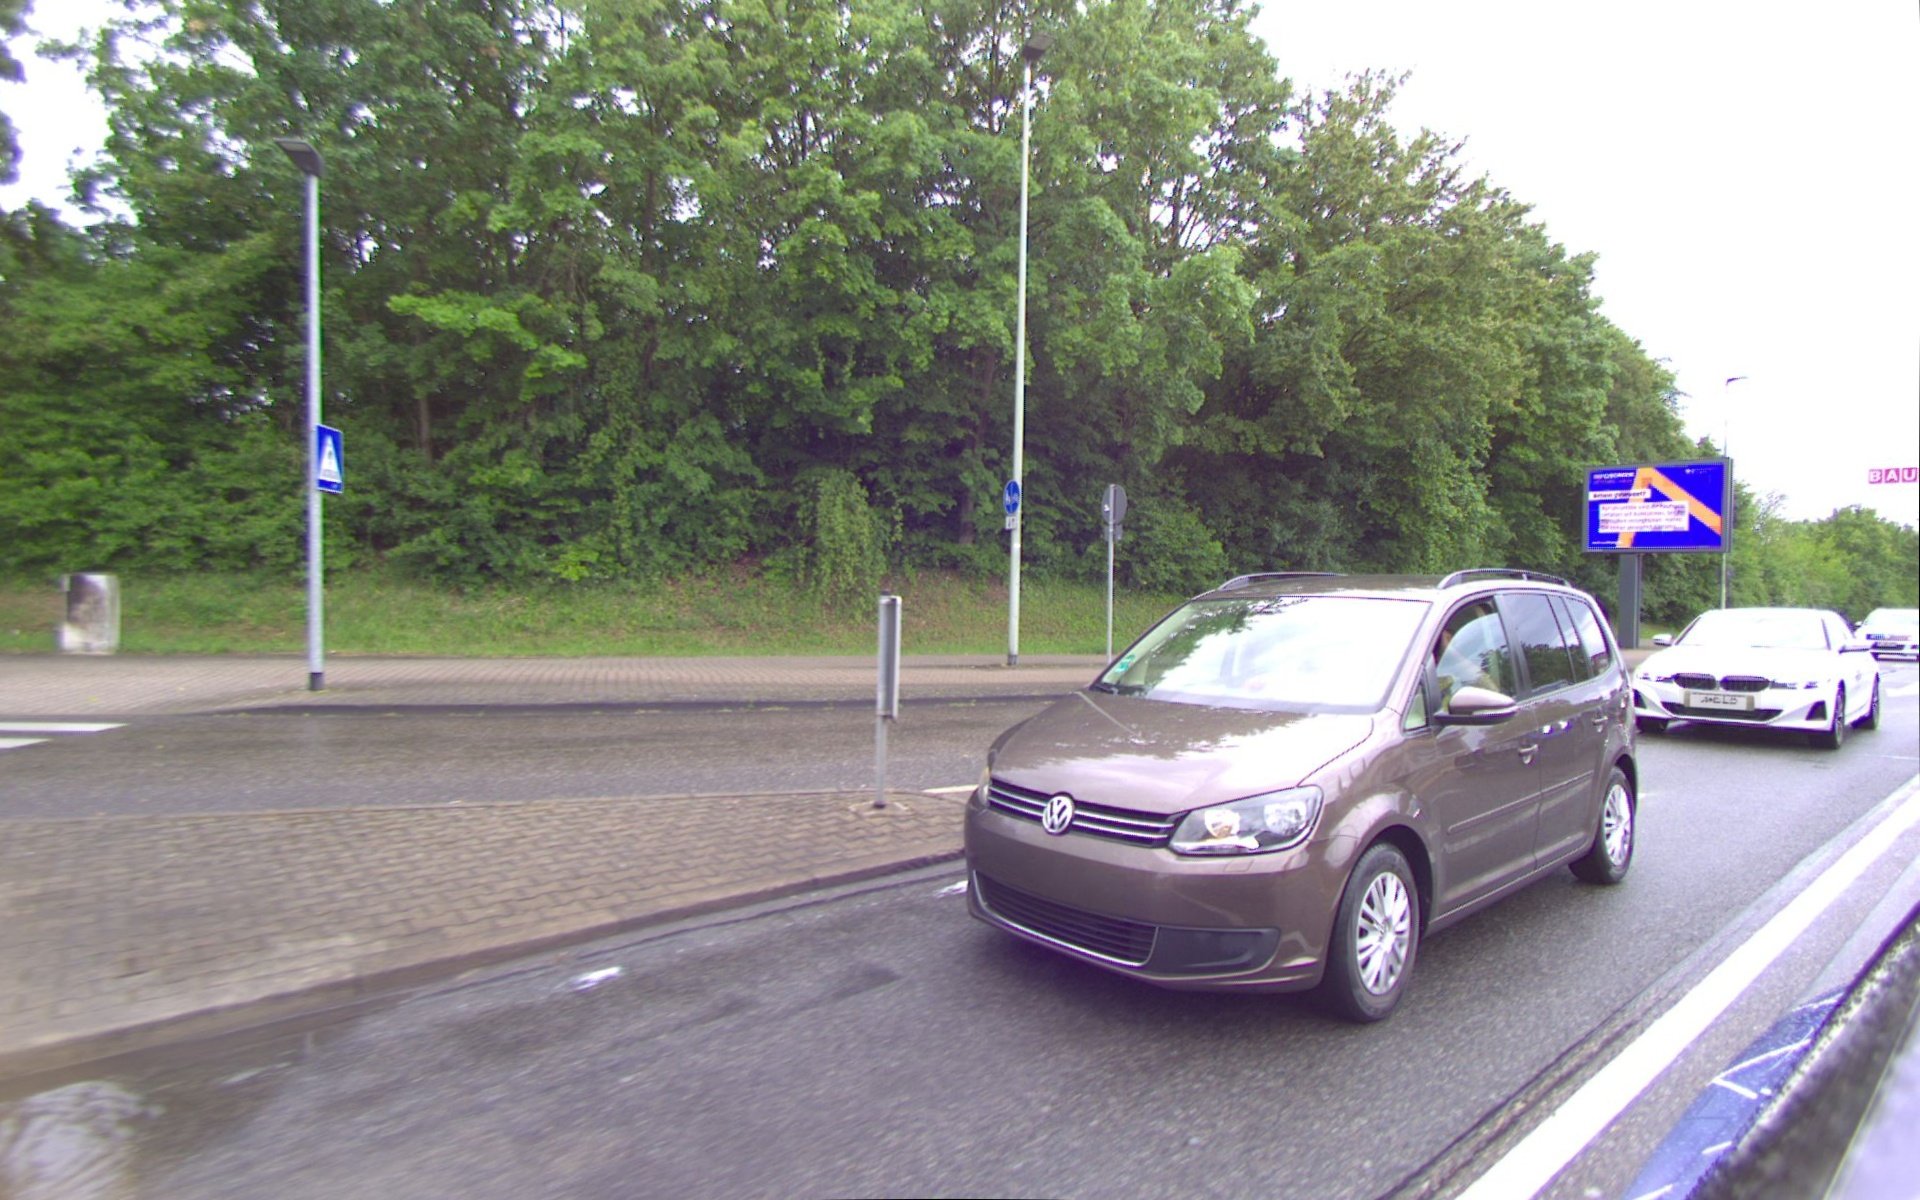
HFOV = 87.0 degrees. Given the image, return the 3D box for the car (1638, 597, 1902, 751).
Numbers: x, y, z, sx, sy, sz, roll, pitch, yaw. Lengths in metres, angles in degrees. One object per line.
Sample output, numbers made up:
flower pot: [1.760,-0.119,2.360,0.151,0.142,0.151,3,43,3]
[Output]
car: [9.766,0.709,12.055,4.600,1.475,1.782,0,0,-42]

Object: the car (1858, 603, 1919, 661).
car: [30.867,1.007,32.864,4.241,1.749,1.997,1,1,-41]

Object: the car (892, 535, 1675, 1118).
car: [1.763,0.617,4.780,3.910,1.629,1.750,0,0,-41]
